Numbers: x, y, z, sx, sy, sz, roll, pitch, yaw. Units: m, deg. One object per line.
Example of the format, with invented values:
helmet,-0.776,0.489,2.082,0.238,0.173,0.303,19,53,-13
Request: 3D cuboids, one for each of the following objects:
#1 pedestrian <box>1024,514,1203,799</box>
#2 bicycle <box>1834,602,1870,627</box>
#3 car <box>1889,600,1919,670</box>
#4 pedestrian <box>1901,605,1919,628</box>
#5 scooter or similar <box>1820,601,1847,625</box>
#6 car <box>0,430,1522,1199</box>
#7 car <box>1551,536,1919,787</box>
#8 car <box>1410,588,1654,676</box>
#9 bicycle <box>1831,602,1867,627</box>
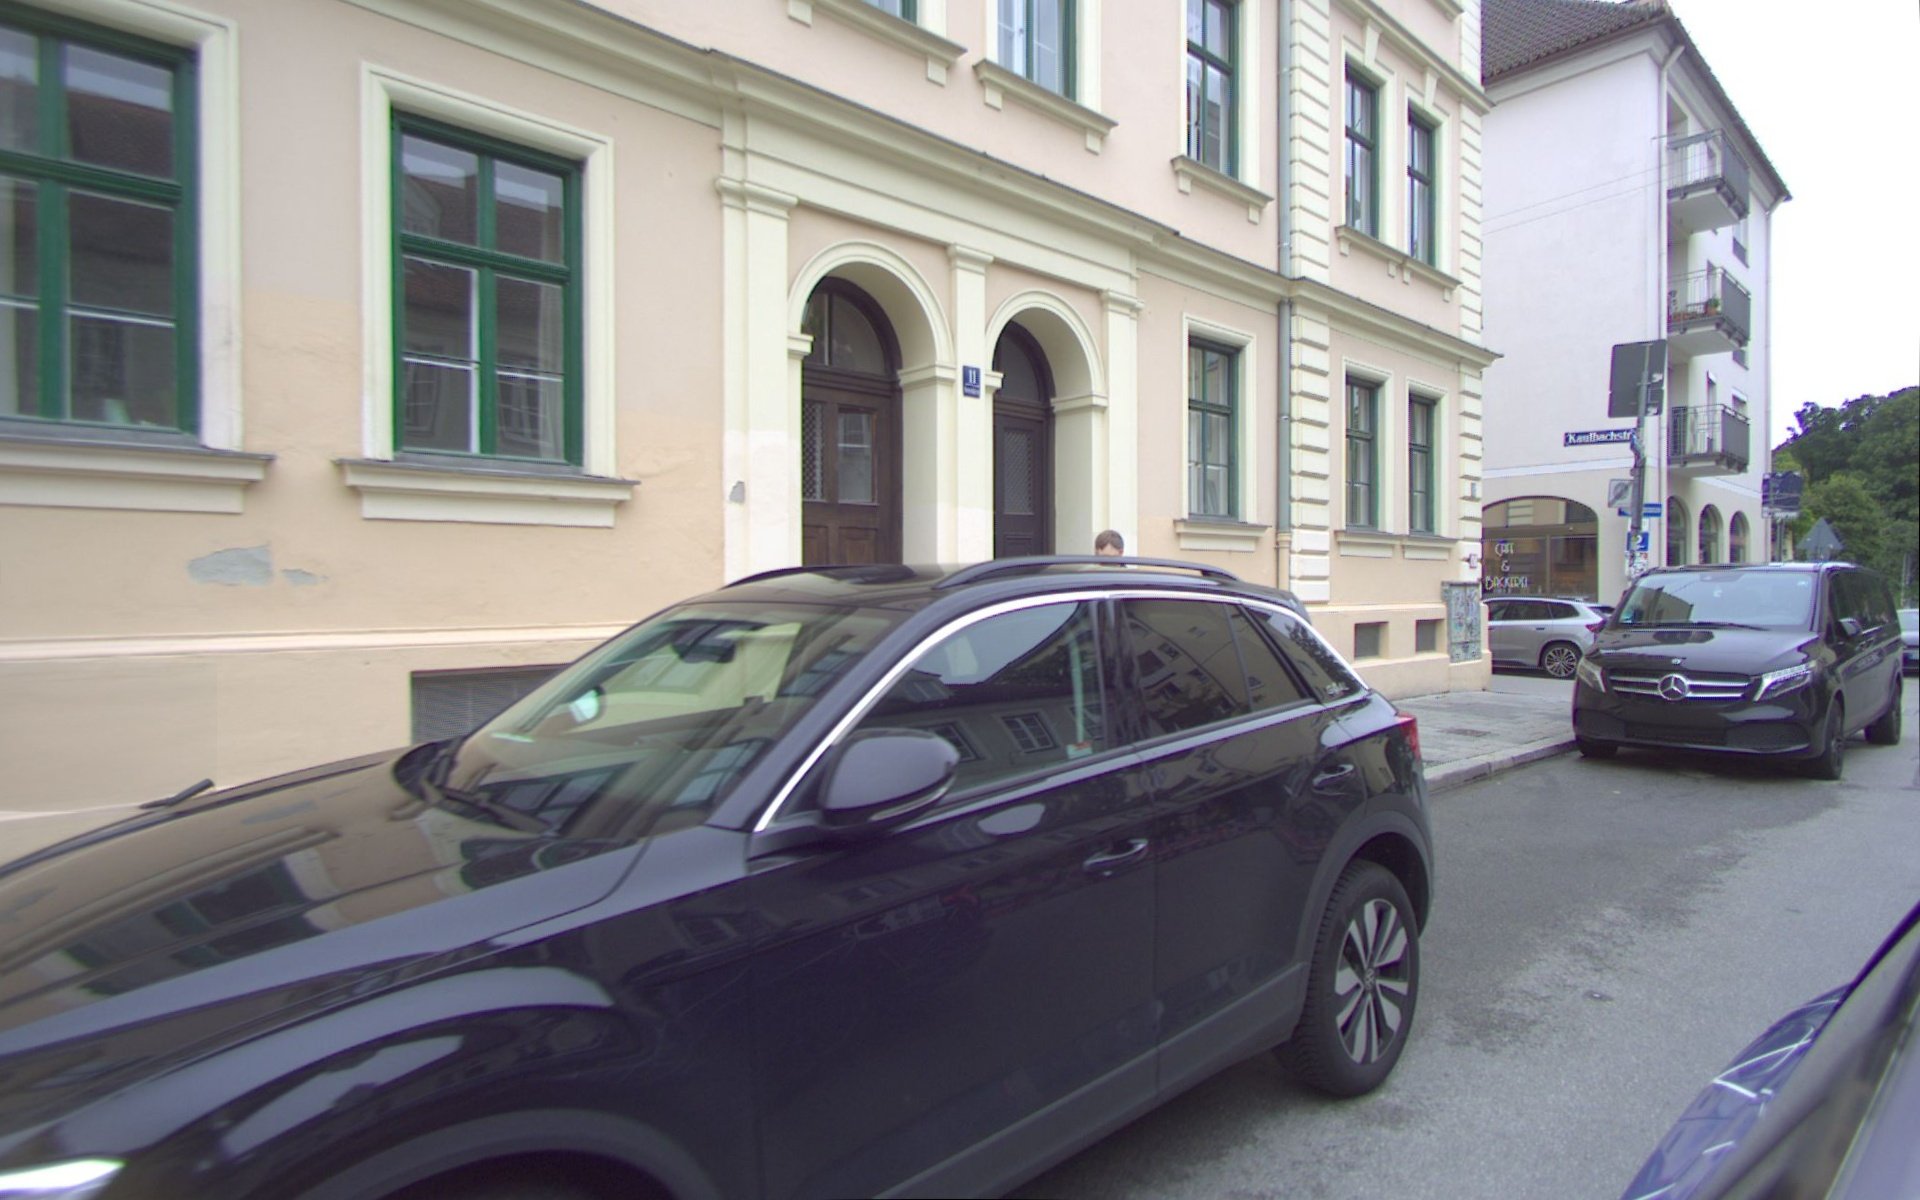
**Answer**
pedestrian,1.037,0.329,6.776,0.987,1.738,0.720,-2,1,-43
bicycle,45.956,0.738,52.121,1.623,1.213,0.169,3,0,0
car,21.388,0.719,21.840,4.133,1.443,1.676,1,-2,-44
pedestrian,51.751,0.906,54.965,0.883,1.251,0.542,-1,-4,38
scooter or similar,44.272,0.654,51.300,0.317,1.228,1.118,2,0,-5
car,-0.190,0.589,2.797,4.200,1.540,1.757,-1,0,-41
car,7.953,0.458,10.056,5.160,1.888,2.001,0,0,-40
car,11.767,0.597,21.019,1.725,1.626,4.093,2,-1,-42
bicycle,45.959,0.744,52.320,1.623,1.206,0.202,3,0,0
